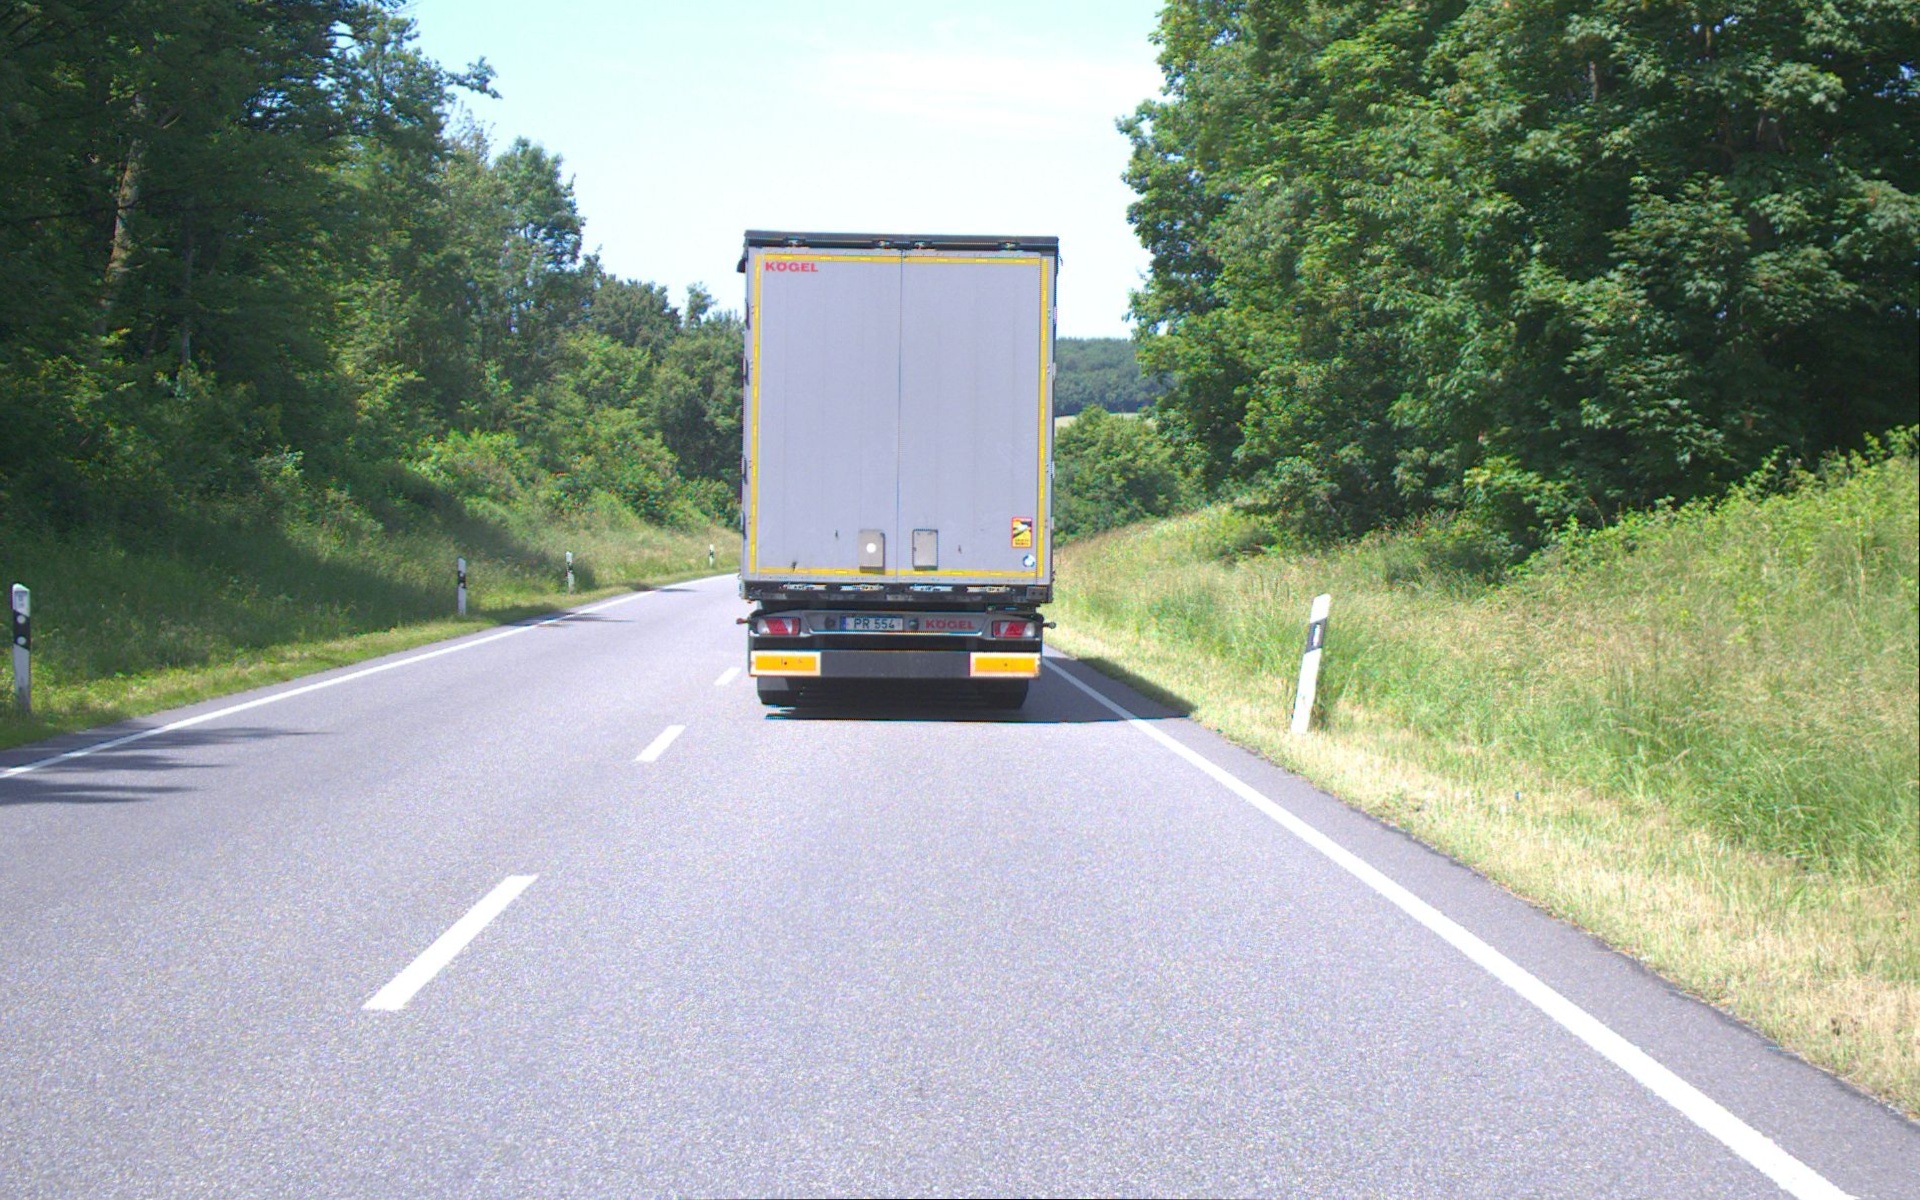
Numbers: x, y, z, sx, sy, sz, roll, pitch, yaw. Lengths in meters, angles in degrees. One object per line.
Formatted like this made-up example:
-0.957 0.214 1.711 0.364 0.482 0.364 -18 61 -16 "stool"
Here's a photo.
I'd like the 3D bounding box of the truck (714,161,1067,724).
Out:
-0.692 -1.390 33.644 2.817 4.517 11.769 0 1 -1 "truck"
